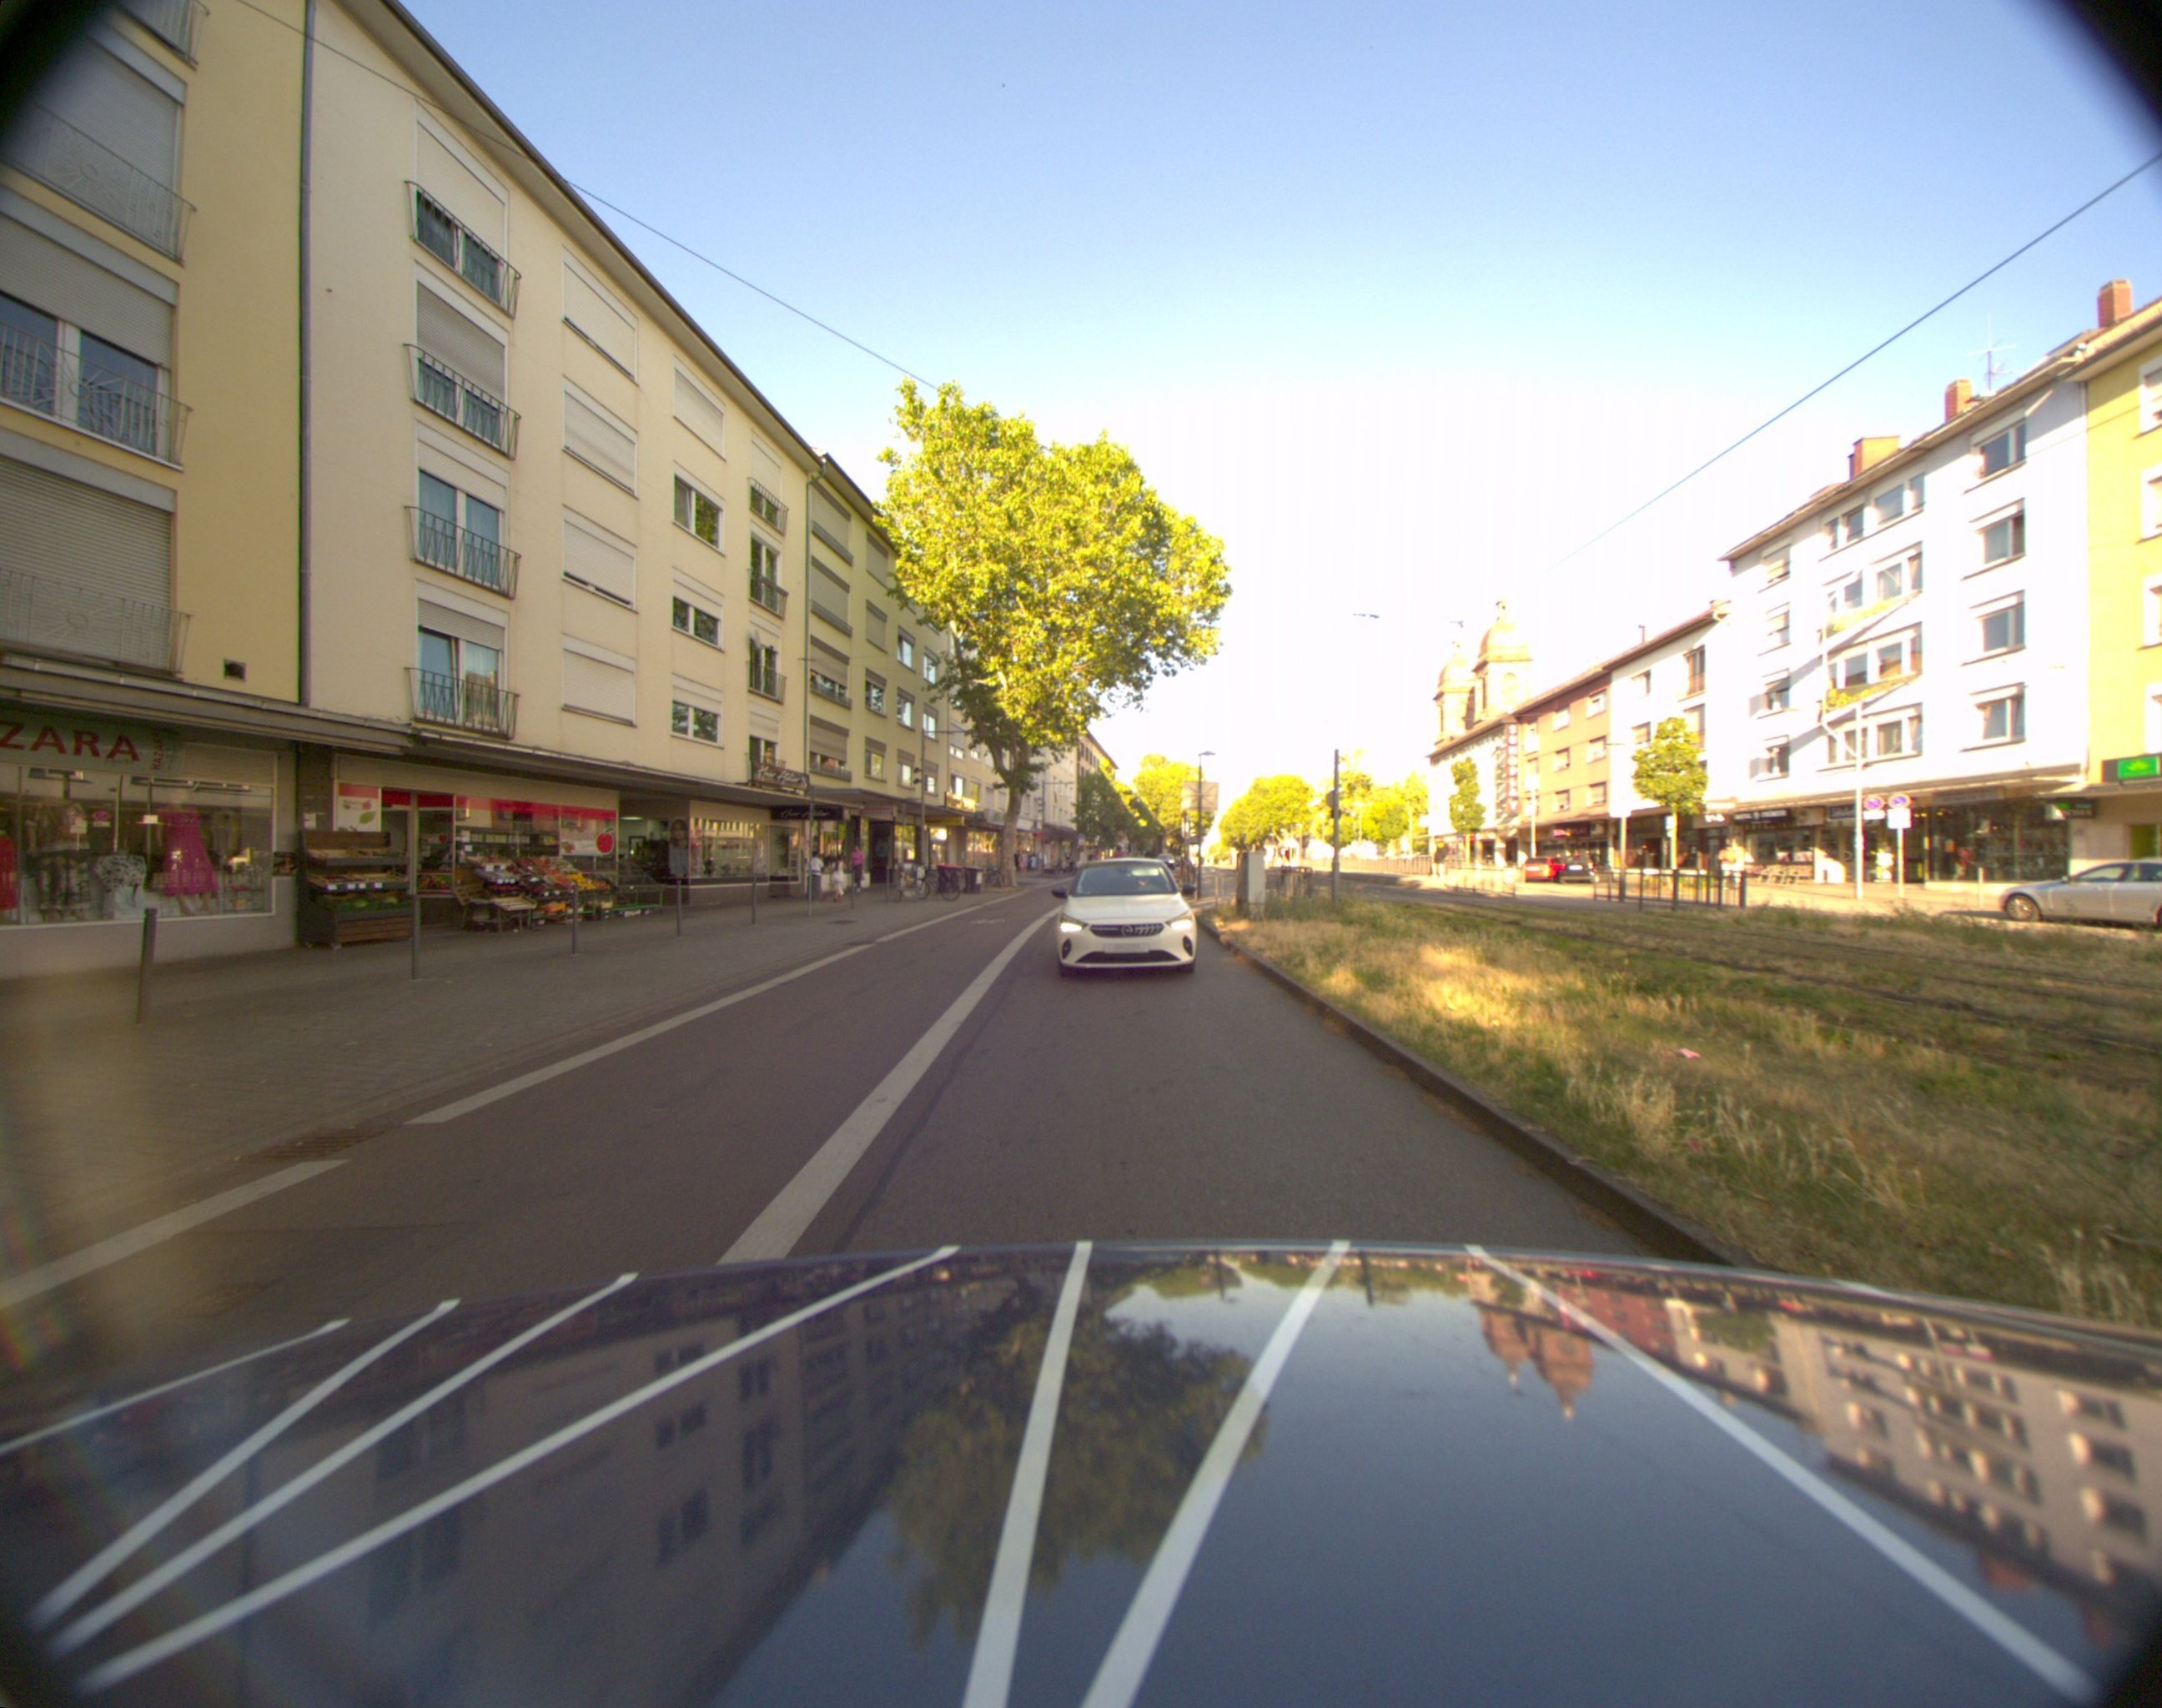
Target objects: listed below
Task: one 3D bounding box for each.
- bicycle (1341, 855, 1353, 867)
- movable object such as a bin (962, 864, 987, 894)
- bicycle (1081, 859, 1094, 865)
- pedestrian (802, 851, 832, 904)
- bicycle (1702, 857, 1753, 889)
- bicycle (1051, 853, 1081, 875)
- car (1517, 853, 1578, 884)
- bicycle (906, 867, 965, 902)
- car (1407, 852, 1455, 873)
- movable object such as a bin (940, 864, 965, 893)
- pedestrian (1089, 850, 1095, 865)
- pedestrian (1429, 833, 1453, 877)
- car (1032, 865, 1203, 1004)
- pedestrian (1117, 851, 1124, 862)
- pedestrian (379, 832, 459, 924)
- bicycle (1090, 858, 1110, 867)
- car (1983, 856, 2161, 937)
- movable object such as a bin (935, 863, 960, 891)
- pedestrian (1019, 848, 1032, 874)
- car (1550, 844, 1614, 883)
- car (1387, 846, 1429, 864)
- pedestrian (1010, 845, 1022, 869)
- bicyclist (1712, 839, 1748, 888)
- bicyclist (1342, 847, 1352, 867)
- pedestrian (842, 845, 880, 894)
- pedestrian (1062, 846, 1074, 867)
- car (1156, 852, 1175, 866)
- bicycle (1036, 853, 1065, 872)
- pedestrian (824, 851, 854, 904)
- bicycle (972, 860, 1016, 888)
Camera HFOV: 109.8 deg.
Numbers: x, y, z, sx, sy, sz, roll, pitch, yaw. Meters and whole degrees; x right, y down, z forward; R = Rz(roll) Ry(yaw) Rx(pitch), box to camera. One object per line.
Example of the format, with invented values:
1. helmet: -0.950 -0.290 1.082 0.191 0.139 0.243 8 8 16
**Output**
1. bicycle: 27.261 0.694 77.872 0.719 1.223 2.279 1 0 7
2. movable object such as a bin: -4.170 0.976 29.818 0.723 1.096 0.645 4 2 15
3. bicycle: 0.587 0.794 72.393 0.840 0.569 1.758 1 0 -14
4. pedestrian: -8.120 0.707 23.419 0.623 1.577 0.627 2 1 7
5. bicycle: 25.354 0.733 29.830 0.706 1.152 2.201 -1 1 17
6. bicycle: -0.993 0.662 50.973 1.788 1.304 0.695 6 2 20
7. car: 25.598 0.803 41.638 3.777 1.482 1.859 -3 1 -43
8. bicycle: -4.943 1.021 25.866 1.909 1.098 0.519 2 1 14
9. car: 28.657 0.684 62.158 4.007 1.521 1.865 -2 1 -37
10. movable object such as a bin: -5.035 0.967 29.810 0.723 1.066 0.644 5 2 6
11. pedestrian: 1.169 0.329 79.741 0.490 1.559 0.649 2 1 10
12. pedestrian: 15.025 0.053 31.716 0.743 1.838 0.590 0 1 3
13. car: 0.460 0.904 10.185 1.826 1.433 3.828 -1 0 2
14. pedestrian: 6.239 0.348 119.683 0.851 1.645 0.916 -2 1 8
15. pedestrian: -12.928 0.456 14.866 0.685 1.733 0.880 -2 1 5
16. bicycle: 1.840 0.791 72.185 1.762 0.773 0.702 1 0 -14
17. car: 21.802 0.824 15.409 1.998 1.469 4.412 -2 0 5
18. movable object such as a bin: -5.364 0.912 30.614 0.722 1.066 0.645 2 2 27
19. pedestrian: -3.432 0.439 47.116 0.547 1.619 0.896 2 0 9
20. car: 25.687 0.476 38.907 3.777 1.789 1.859 -3 1 -43
21. car: 29.830 0.050 69.276 4.007 1.477 1.739 -2 1 -39
22. pedestrian: -4.561 0.229 53.383 0.569 1.665 1.070 2 1 9
23. bicyclist: 25.293 0.359 29.609 0.693 1.876 1.059 -1 1 17
24. bicyclist: 27.270 0.298 77.898 0.765 2.002 0.912 0 1 7
25. pedestrian: -8.275 0.563 28.573 0.969 1.753 1.134 1 2 9
26. pedestrian: -1.075 0.195 65.212 0.774 1.789 0.931 3 1 10
27. car: 8.480 0.489 76.792 1.717 1.390 4.001 -2 0 4
28. bicycle: -2.068 0.599 51.982 1.794 1.118 0.663 4 1 -19
29. pedestrian: -7.485 0.723 23.494 0.636 1.577 0.627 2 1 7
30. bicycle: -3.657 0.846 32.025 1.721 1.111 0.745 0 4 8
